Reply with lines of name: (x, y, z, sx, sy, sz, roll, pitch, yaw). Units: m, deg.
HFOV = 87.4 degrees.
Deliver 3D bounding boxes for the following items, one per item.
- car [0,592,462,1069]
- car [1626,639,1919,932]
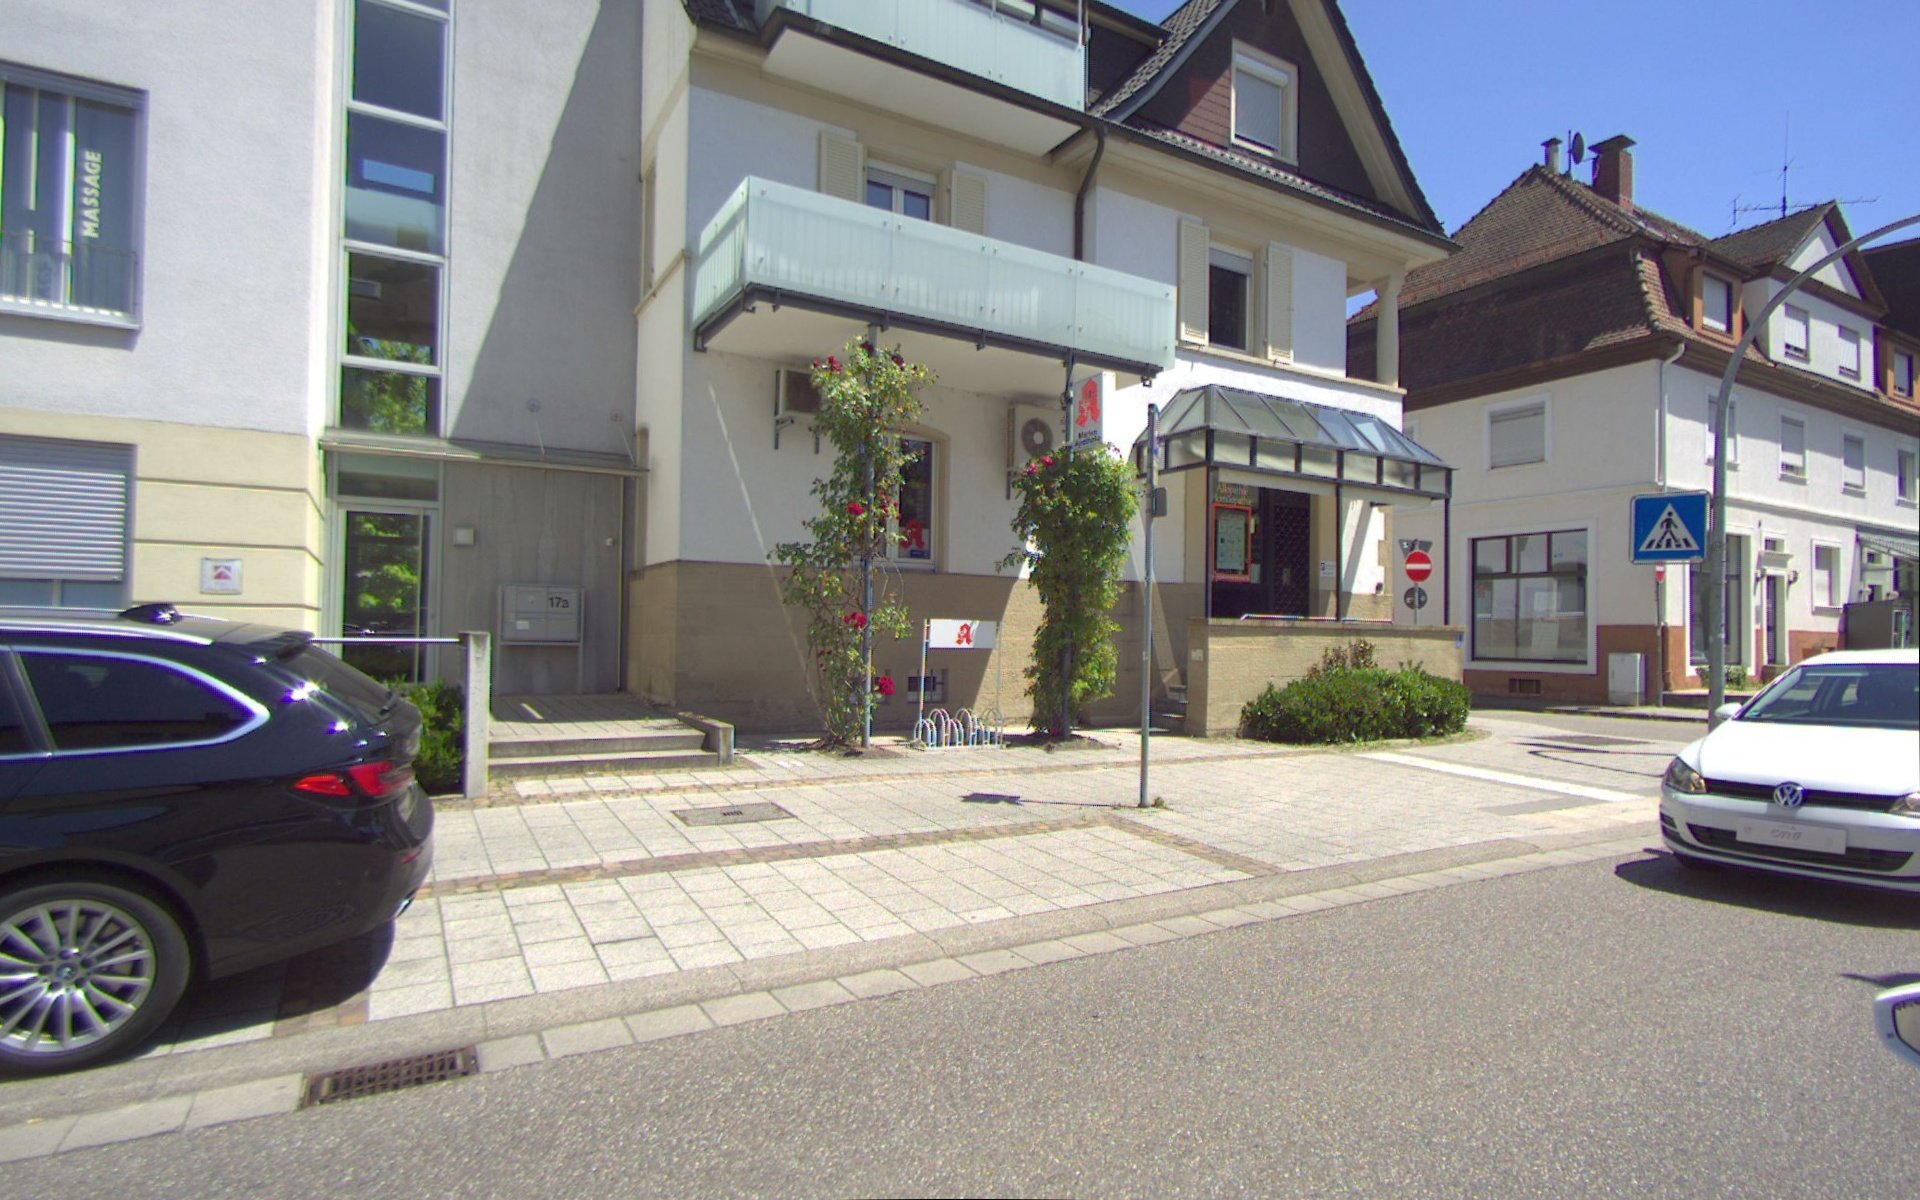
car: (-4.600, 0.712, 3.442, 5.087, 1.471, 1.908, 2, 1, -30)
car: (6.312, 1.026, 6.590, 3.826, 1.501, 1.798, 2, -3, -32)
